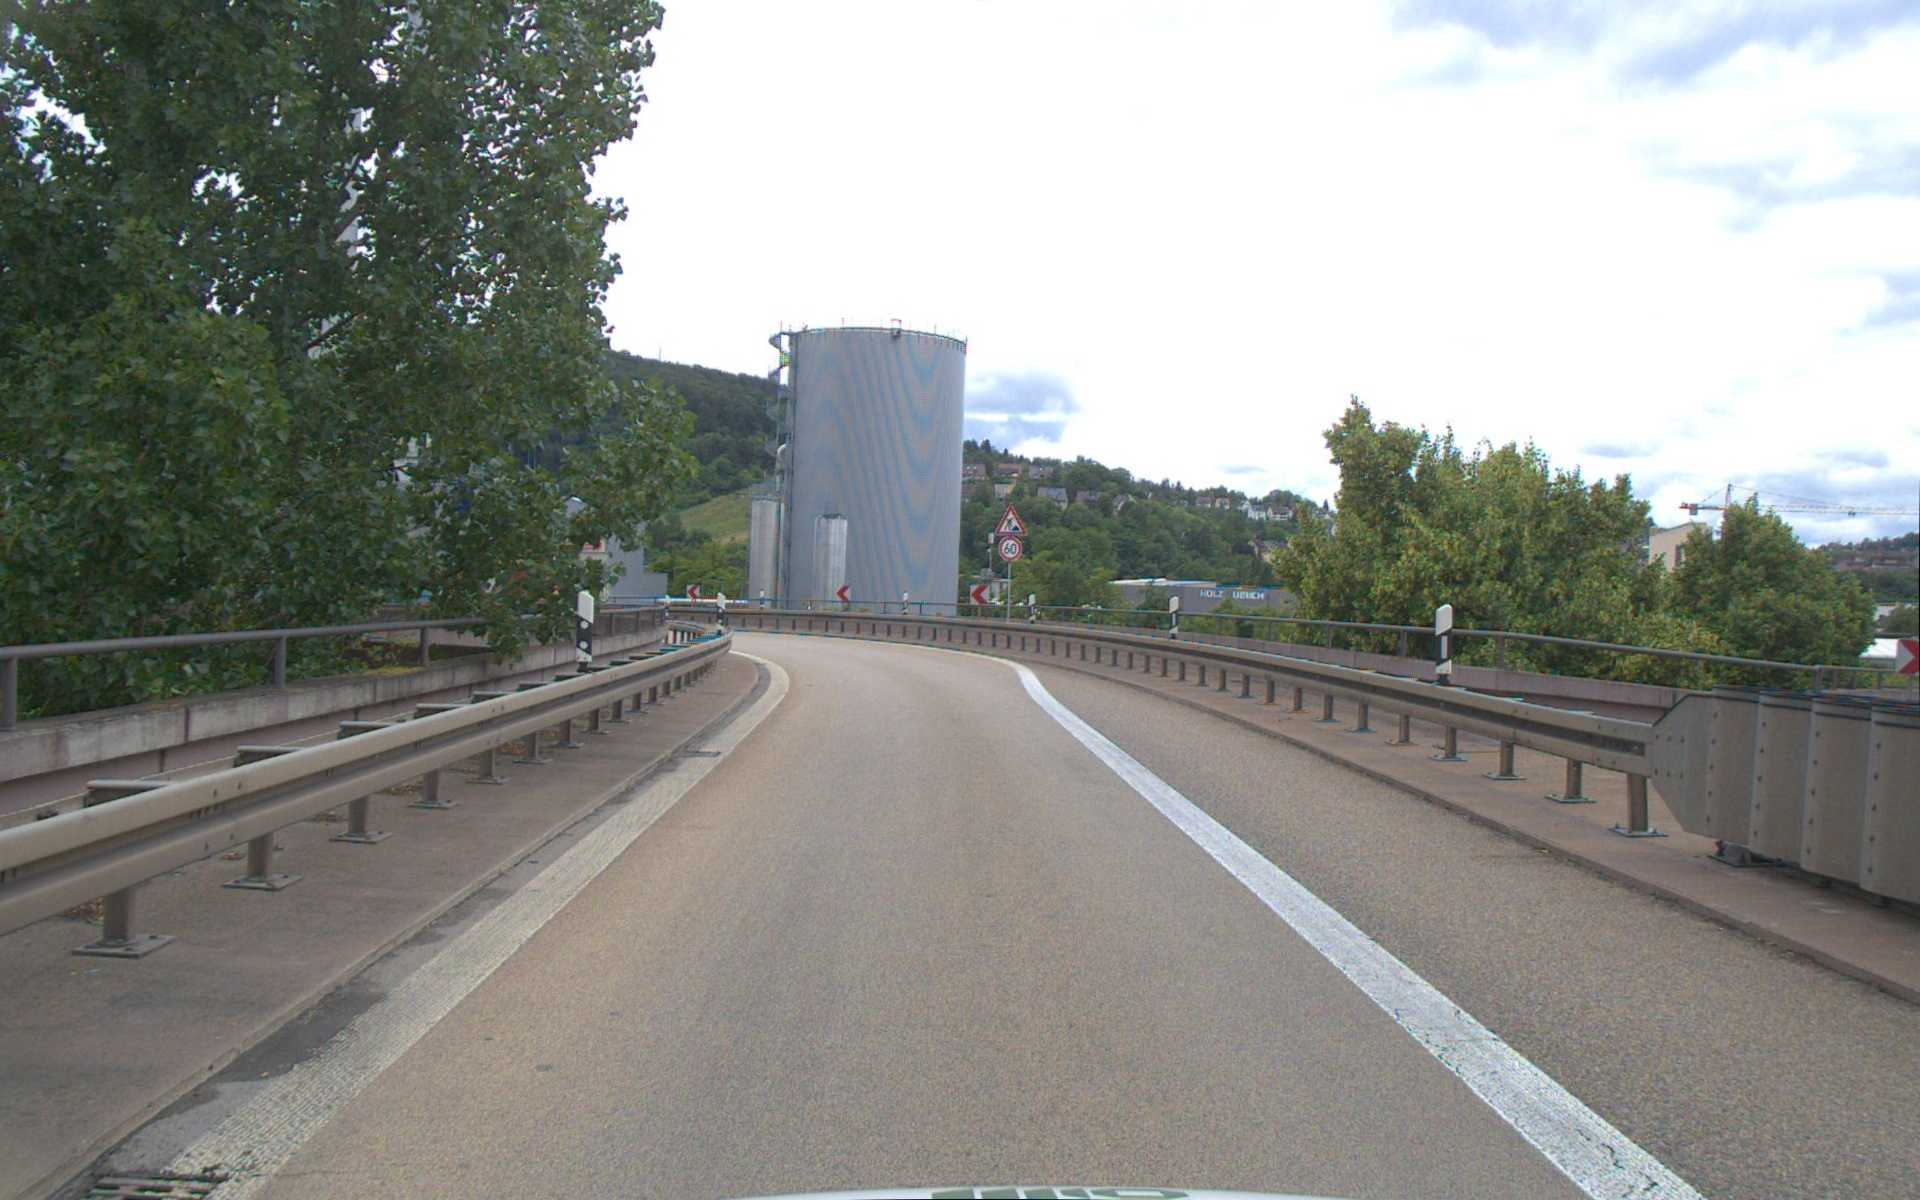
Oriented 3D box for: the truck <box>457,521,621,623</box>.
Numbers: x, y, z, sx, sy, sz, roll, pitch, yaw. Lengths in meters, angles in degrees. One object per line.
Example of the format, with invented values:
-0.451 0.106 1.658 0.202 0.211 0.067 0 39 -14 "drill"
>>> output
-16.593 -1.043 64.823 3.034 3.737 7.808 1 0 -41 "truck"
